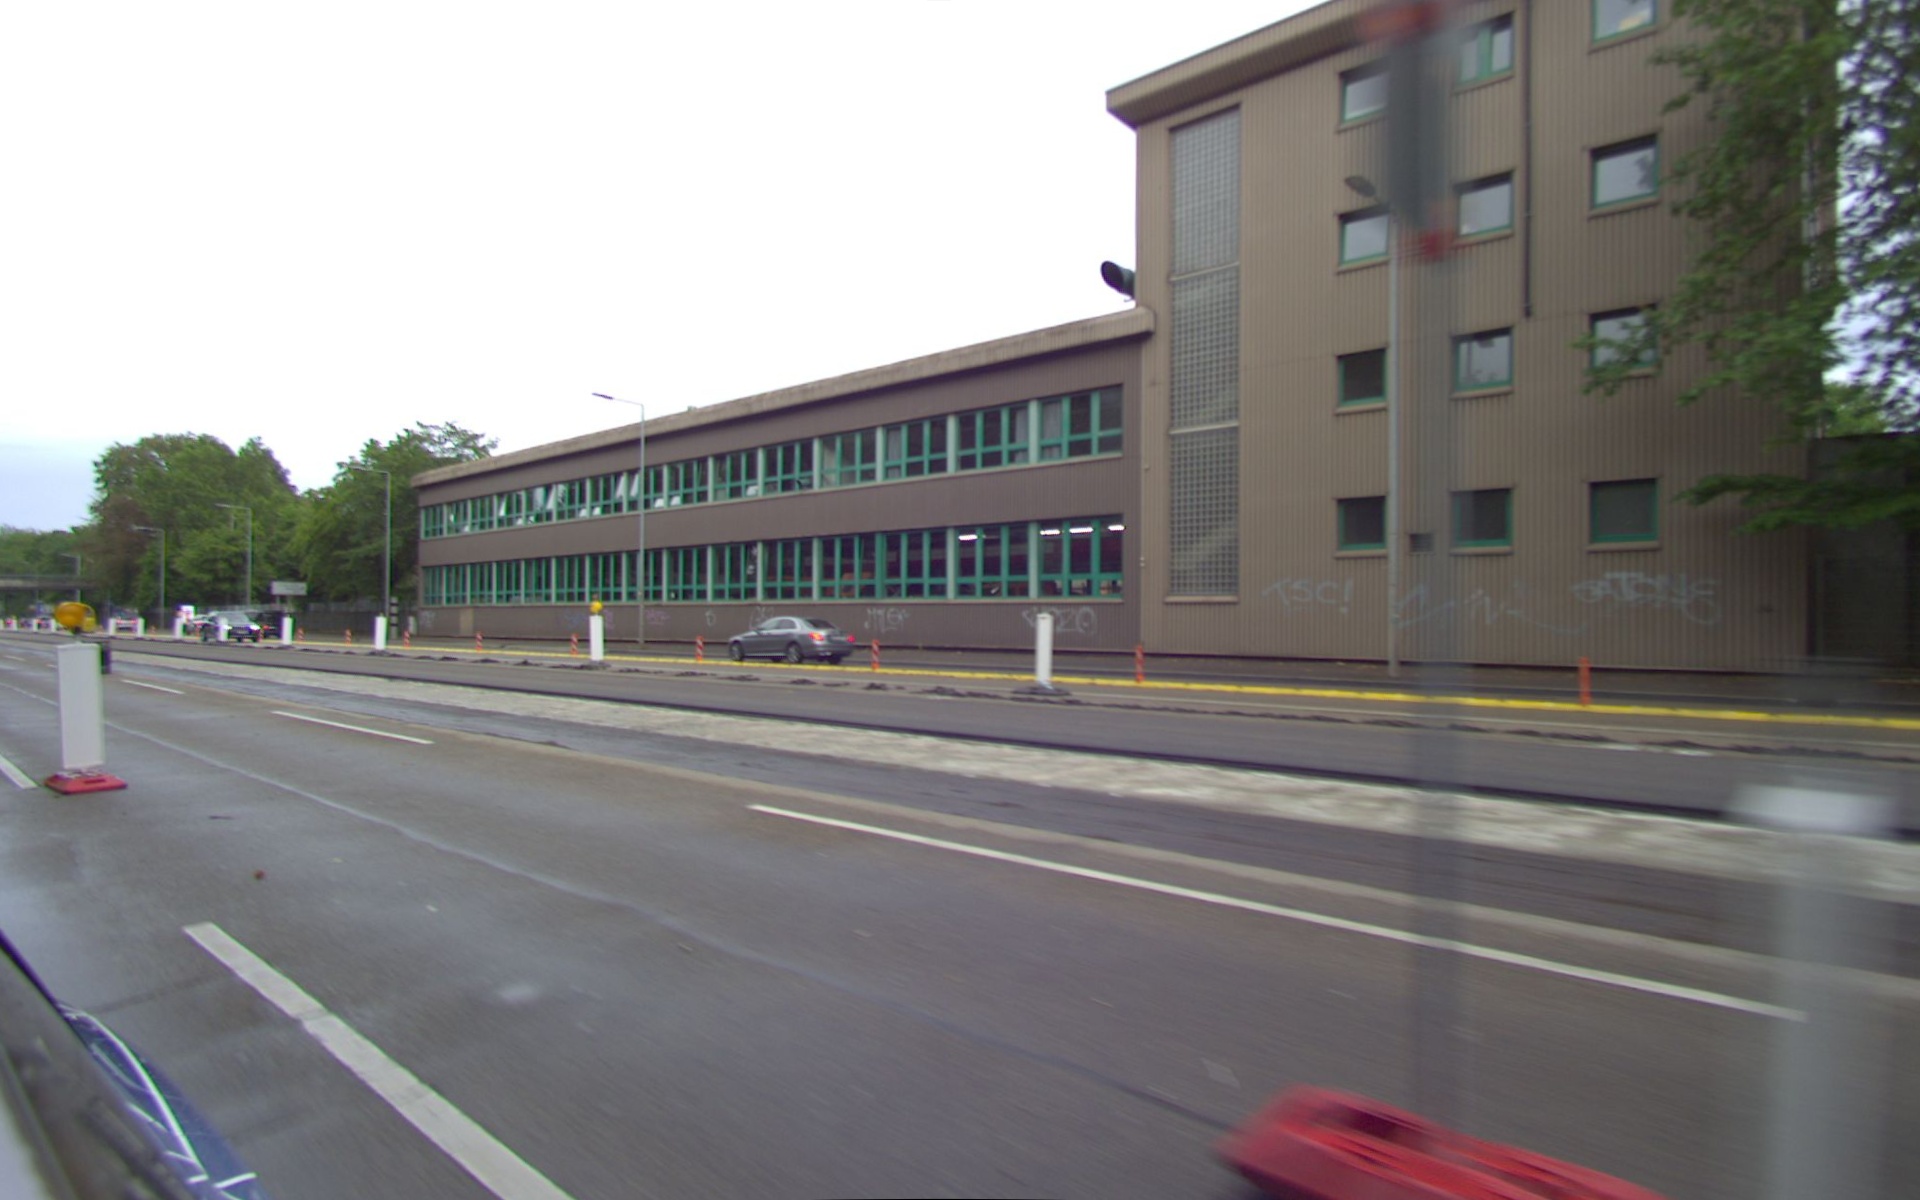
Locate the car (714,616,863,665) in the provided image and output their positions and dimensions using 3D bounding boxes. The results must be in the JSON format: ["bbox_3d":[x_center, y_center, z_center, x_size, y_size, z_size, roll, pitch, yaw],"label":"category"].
[{"bbox_3d":[-5.323,1.178,31.013,4.789,1.358,1.972,-1,0,42],"label":"car"}]

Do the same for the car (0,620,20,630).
[{"bbox_3d":[-149.142,3.942,158.726,4.262,1.440,1.973,-2,-1,40],"label":"car"}]

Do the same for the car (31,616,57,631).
[{"bbox_3d":[-111.420,2.812,123.032,4.674,1.781,1.967,-1,0,43],"label":"car"}]

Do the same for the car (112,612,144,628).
[{"bbox_3d":[-86.727,2.094,105.488,4.177,1.598,1.973,-1,0,41],"label":"car"}]

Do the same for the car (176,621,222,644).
[{"bbox_3d":[-61.065,2.578,81.146,4.932,1.719,1.918,-1,0,40],"label":"car"}]

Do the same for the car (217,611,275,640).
[{"bbox_3d":[-45.637,1.603,64.641,4.953,1.794,1.972,-1,0,42],"label":"car"}]
